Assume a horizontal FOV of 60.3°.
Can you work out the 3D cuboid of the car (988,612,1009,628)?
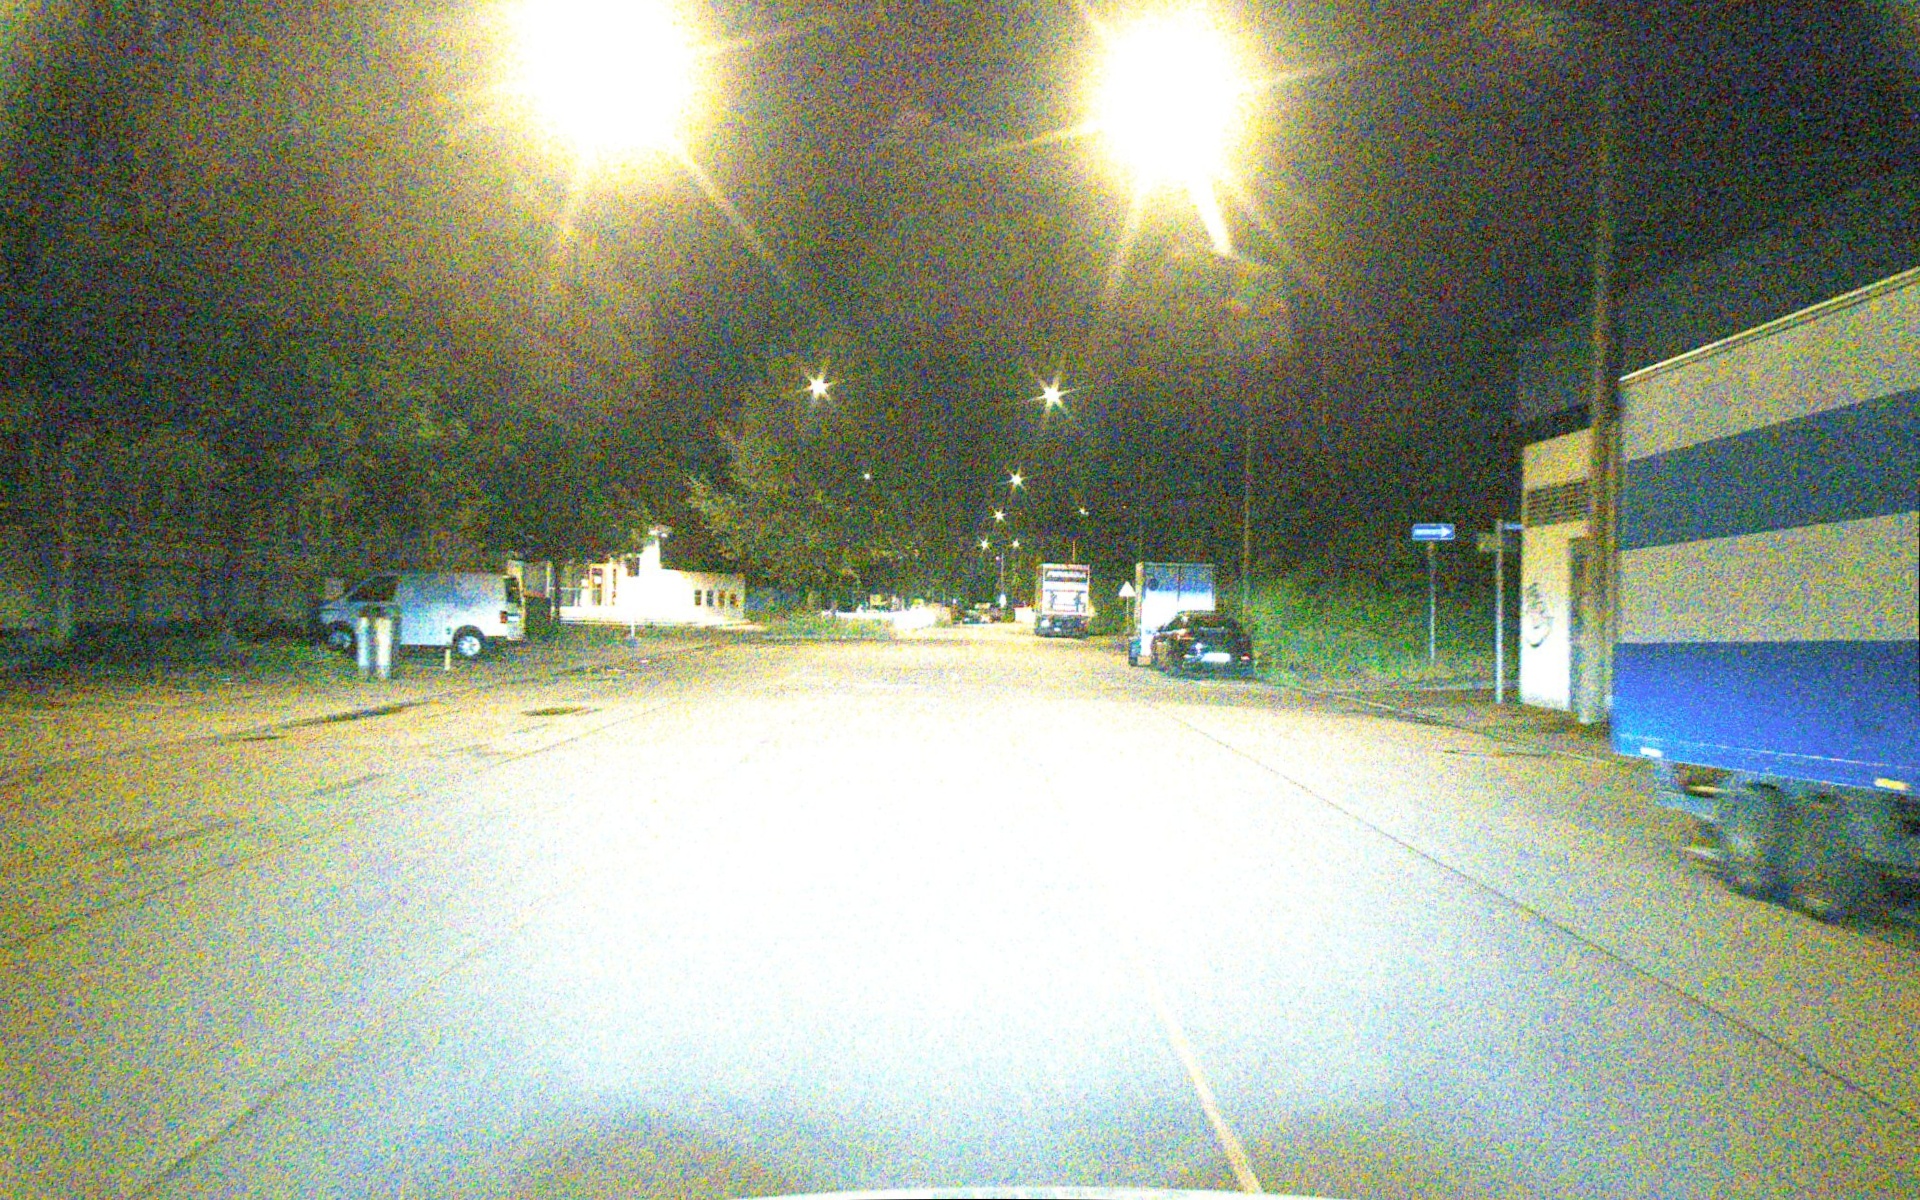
[{"bbox_3d":[4.995,2.602,213.942,1.684,1.853,4.002,1,-2,15],"label":"car"}]

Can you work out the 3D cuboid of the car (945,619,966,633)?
[{"bbox_3d":[-0.669,3.740,237.733,1.951,1.729,4.209,1,-2,15],"label":"car"}]

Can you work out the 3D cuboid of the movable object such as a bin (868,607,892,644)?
[{"bbox_3d":[-6.260,1.974,129.565,1.540,2.782,3.696,-2,0,-7],"label":"movable object such as a bin"}]

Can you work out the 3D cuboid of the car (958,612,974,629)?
[{"bbox_3d":[0.666,2.304,185.357,1.685,1.690,4.000,2,-2,1],"label":"car"}]

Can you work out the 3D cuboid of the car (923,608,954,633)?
[{"bbox_3d":[-2.908,2.754,222.030,2.465,3.227,7.142,-1,-1,13],"label":"car"}]

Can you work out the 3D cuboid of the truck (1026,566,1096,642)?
[{"bbox_3d":[5.603,0.287,92.968,3.256,3.936,9.326,2,-1,0],"label":"truck"}]

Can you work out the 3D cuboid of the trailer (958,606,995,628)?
[{"bbox_3d":[1.671,1.786,170.402,1.541,2.199,5.175,0,-2,-27],"label":"trailer"}]

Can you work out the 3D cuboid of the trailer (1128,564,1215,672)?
[{"bbox_3d":[5.652,0.472,44.570,1.952,2.697,4.001,2,0,3],"label":"trailer"}]

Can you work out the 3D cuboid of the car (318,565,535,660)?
[{"bbox_3d":[-12.372,0.293,38.597,4.341,2.006,2.000,2,0,-1],"label":"car"}]

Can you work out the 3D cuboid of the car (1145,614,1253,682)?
[{"bbox_3d":[5.504,1.078,38.576,1.692,1.411,4.675,2,0,-1],"label":"car"}]

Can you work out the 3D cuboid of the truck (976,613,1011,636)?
[{"bbox_3d":[5.096,3.772,252.615,1.953,3.463,8.974,2,0,24],"label":"truck"}]

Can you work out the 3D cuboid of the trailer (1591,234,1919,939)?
[{"bbox_3d":[5.715,-0.038,9.418,2.350,3.384,4.360,2,0,-3],"label":"trailer"}]

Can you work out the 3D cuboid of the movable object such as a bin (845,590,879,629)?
[{"bbox_3d":[-6.532,0.661,109.860,1.526,2.511,2.822,0,-1,-20],"label":"movable object such as a bin"}]

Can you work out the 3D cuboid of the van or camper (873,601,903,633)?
[{"bbox_3d":[-7.217,1.758,167.010,2.467,3.149,7.445,-1,-1,1],"label":"van or camper"}]
